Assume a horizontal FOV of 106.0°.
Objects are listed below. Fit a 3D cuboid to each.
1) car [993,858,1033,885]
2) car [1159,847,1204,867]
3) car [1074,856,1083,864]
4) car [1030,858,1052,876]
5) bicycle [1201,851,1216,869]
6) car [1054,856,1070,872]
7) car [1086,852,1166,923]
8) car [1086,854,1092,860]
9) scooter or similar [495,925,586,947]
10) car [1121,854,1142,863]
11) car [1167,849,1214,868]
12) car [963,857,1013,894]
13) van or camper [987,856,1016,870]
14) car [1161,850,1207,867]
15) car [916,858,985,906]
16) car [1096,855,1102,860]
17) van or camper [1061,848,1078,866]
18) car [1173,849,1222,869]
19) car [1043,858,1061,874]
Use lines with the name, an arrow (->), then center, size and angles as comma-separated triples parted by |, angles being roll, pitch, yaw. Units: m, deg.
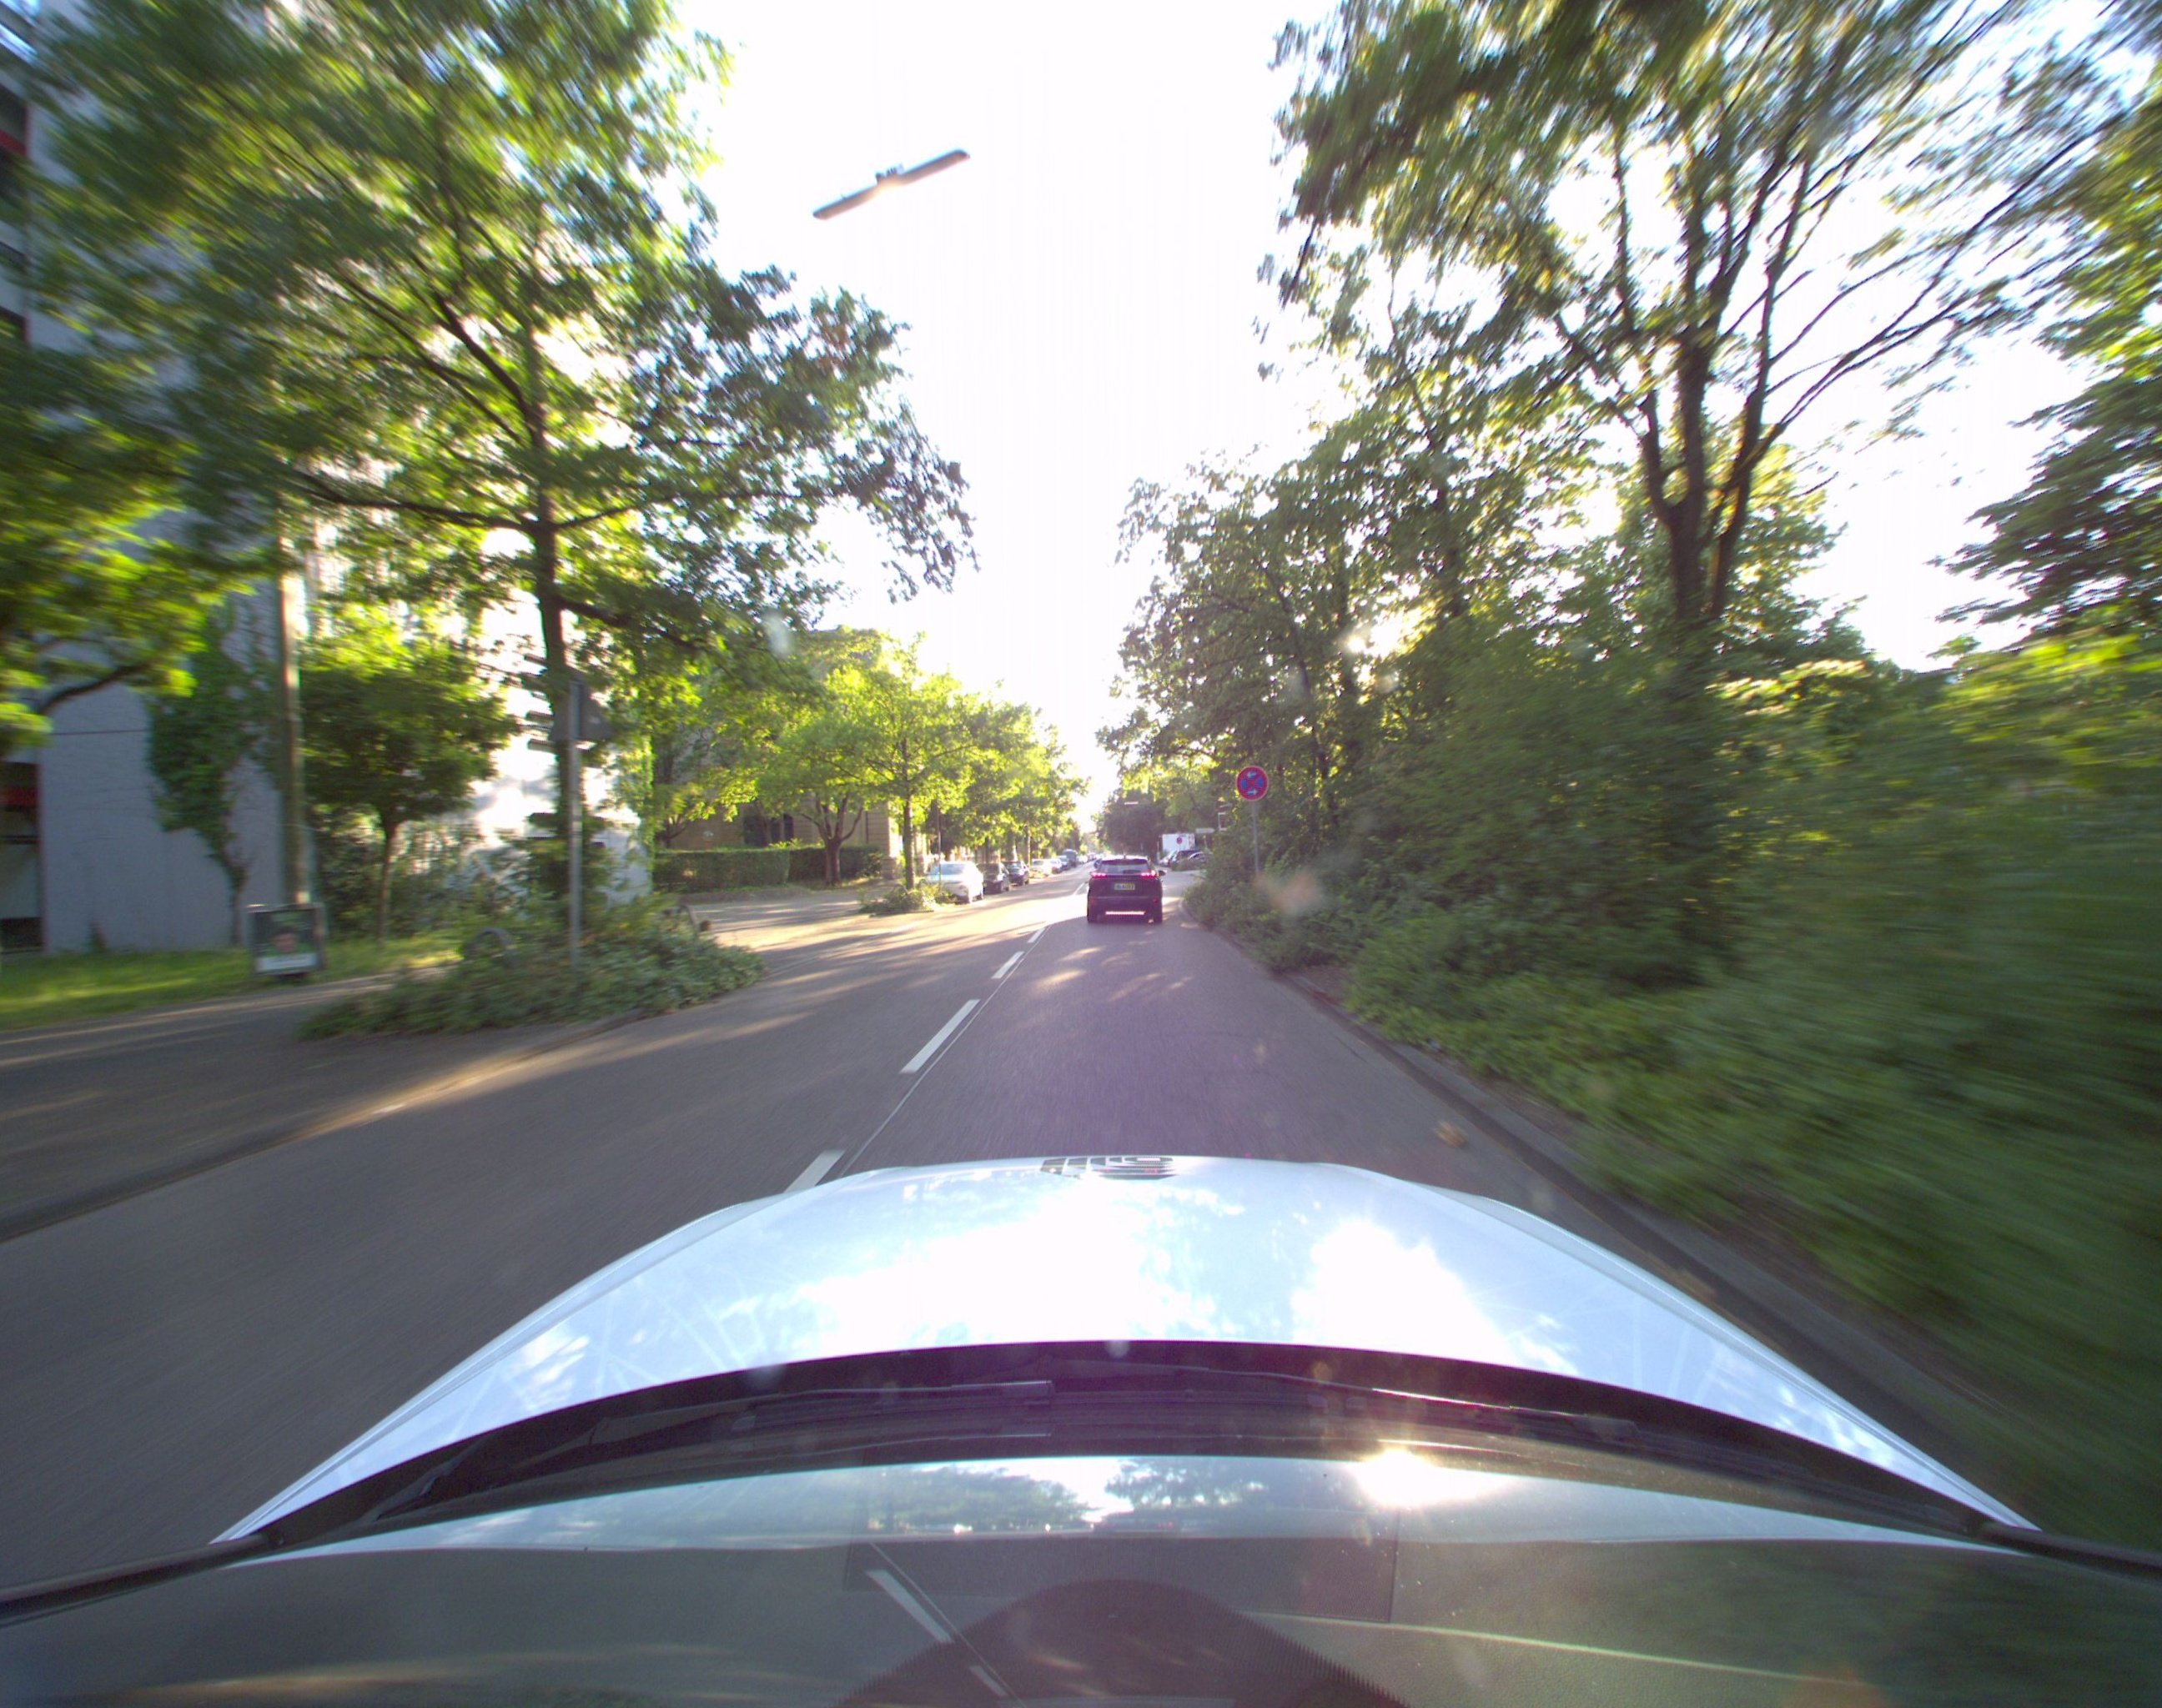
car -> -4.131, 1.041, 50.054 | 1.795, 1.510, 4.866 | -1, 0, 3
car -> 11.658, 0.379, 94.520 | 4.836, 1.915, 1.916 | -4, 0, 0
car -> -0.515, 1.180, 155.827 | 1.608, 1.515, 3.711 | -4, 0, 0
car -> -3.447, 1.123, 70.500 | 1.612, 1.496, 3.926 | -2, 0, 1
bicycle -> 9.145, 0.449, 58.322 | 0.488, 1.148, 2.297 | -5, 0, 22
car -> -2.328, 1.218, 101.018 | 1.770, 1.866, 4.334 | 0, 0, 2
car -> 1.070, 0.742, 20.219 | 1.765, 1.568, 4.110 | -1, 0, 2
car -> 2.399, 0.837, 243.588 | 1.893, 1.574, 4.001 | -2, 0, 1
scooter or similar -> -10.877, 1.641, 16.451 | 1.163, 0.276, 1.244 | -1, 0, -14
car -> 9.997, 0.839, 161.004 | 3.973, 1.554, 1.726 | -4, -1, 1
car -> 10.947, 0.479, 81.711 | 4.348, 1.554, 1.876 | -4, 0, 0
car -> -4.405, 0.986, 39.234 | 1.773, 1.616, 4.148 | -1, 0, 1
van or camper -> -13.879, 1.573, 142.918 | 4.748, 1.985, 2.003 | -2, 4, 3
car -> 11.603, 0.553, 92.200 | 4.910, 1.554, 1.916 | -4, 0, 0
car -> -4.845, 1.013, 30.770 | 1.796, 1.616, 4.148 | -2, 0, 1
car -> 5.587, 1.067, 247.369 | 1.735, 1.458, 4.625 | -3, 0, 1
van or camper -> -1.706, 0.477, 120.664 | 2.221, 2.544, 7.081 | -1, 0, 1
car -> 10.937, 0.438, 76.646 | 4.348, 1.554, 1.727 | -4, 0, 0
car -> -2.937, 1.202, 83.320 | 1.612, 1.496, 4.378 | -2, 0, 1
